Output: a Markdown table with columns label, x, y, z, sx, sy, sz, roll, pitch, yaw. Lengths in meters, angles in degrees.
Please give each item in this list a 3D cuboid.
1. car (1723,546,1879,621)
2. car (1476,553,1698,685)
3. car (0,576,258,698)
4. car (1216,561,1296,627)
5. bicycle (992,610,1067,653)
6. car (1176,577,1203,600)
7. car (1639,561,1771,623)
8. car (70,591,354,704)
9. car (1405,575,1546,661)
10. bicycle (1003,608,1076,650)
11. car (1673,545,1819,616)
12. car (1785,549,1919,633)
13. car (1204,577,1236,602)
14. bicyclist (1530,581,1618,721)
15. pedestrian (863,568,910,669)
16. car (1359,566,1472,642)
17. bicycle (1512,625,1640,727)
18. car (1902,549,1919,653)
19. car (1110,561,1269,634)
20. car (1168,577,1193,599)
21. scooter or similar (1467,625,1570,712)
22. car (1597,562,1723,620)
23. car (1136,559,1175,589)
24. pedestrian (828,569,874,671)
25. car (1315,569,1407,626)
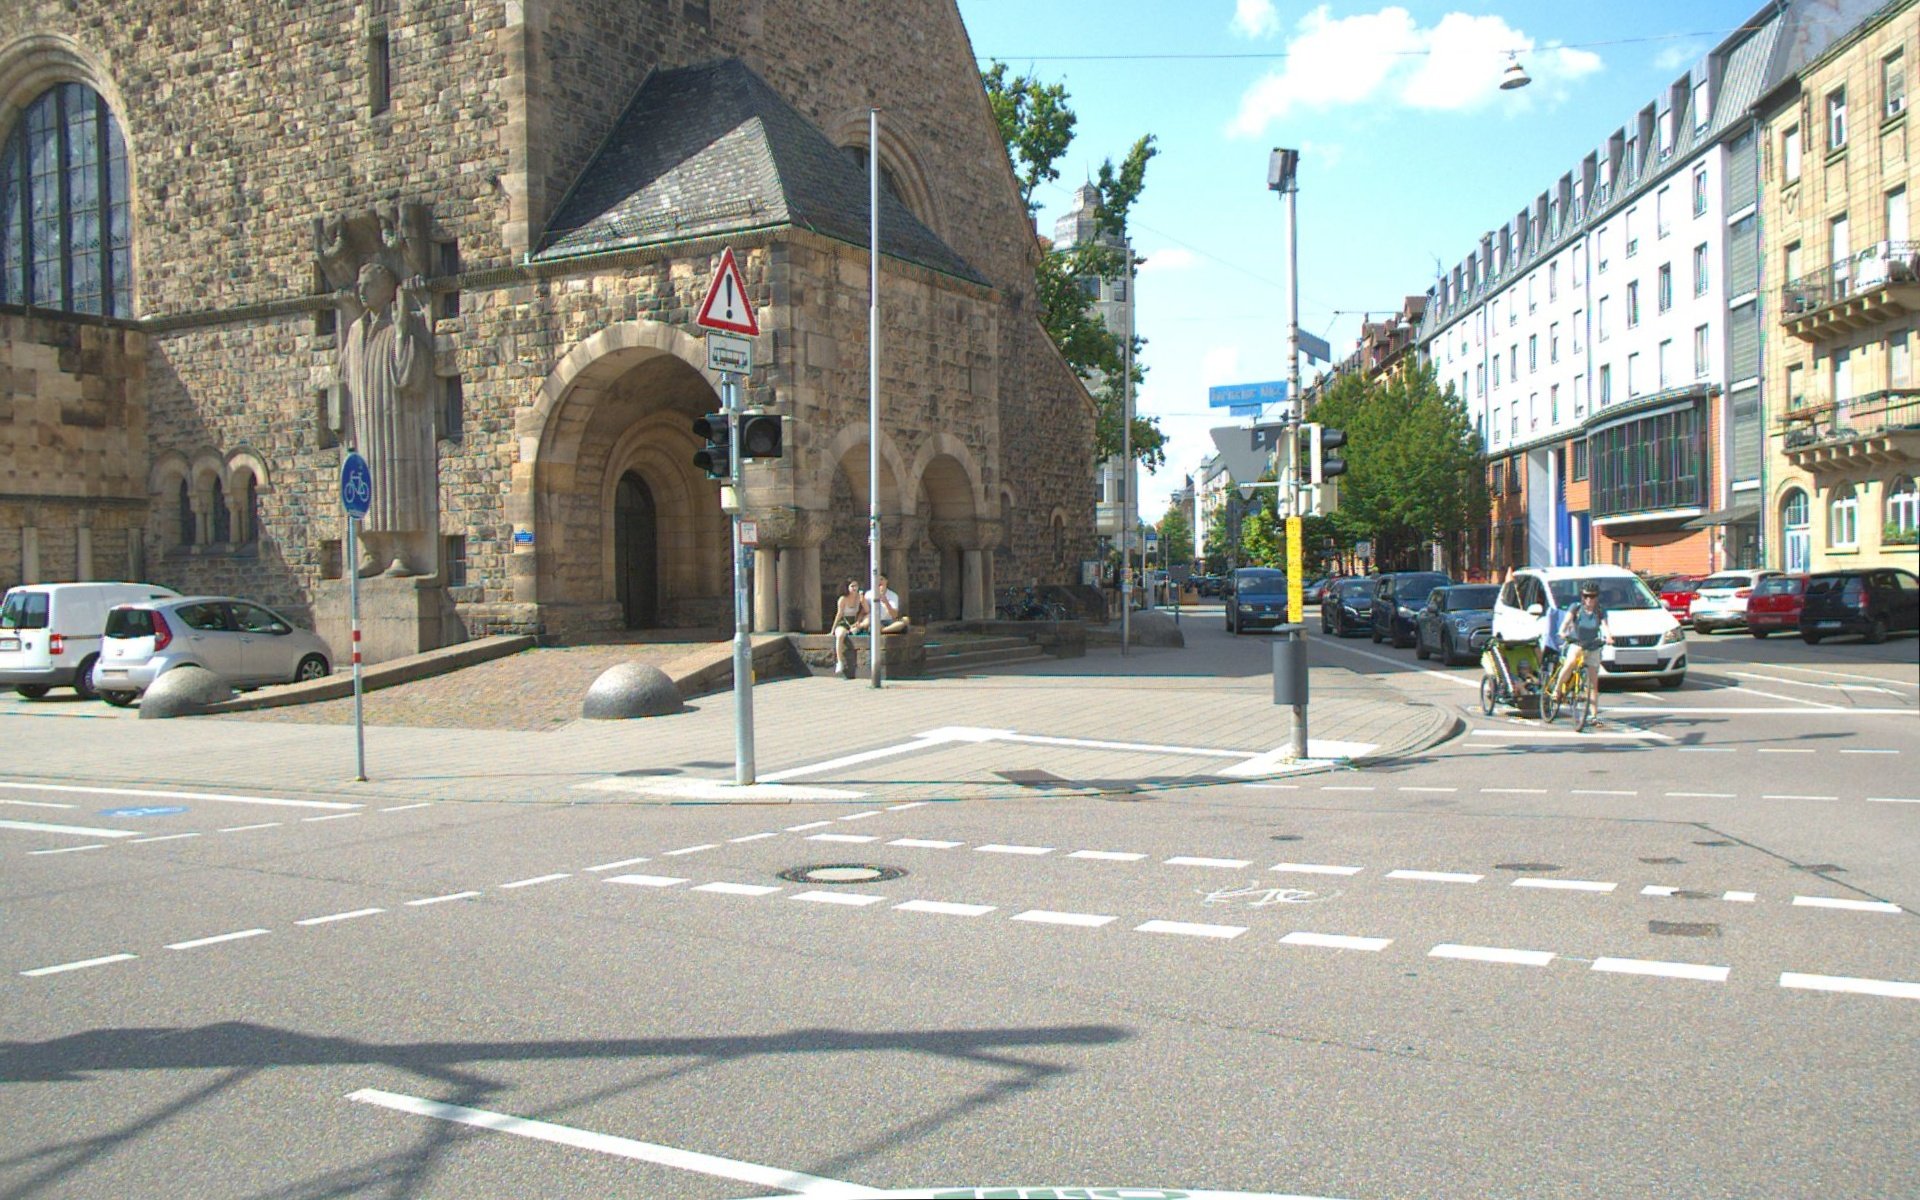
| label | x | y | z | sx | sy | sz | roll | pitch | yaw |
| --- | --- | --- | --- | --- | --- | --- | --- | --- | --- |
| car | 19.793 | -0.399 | 38.887 | 3.730 | 1.481 | 1.588 | -4 | 1 | -33 |
| car | 9.308 | 0.228 | 24.970 | 1.771 | 1.770 | 4.666 | -1 | 1 | 3 |
| car | -14.211 | 0.562 | 28.049 | 1.821 | 1.855 | 4.012 | -1 | 1 | 26 |
| car | 8.433 | -0.209 | 47.409 | 1.771 | 1.693 | 4.076 | -2 | 2 | 4 |
| bicycle | 1.273 | 0.579 | 30.385 | 1.336 | 0.754 | 0.338 | -1 | 1 | 27 |
| car | 19.381 | -0.953 | 139.577 | 1.951 | 1.847 | 4.002 | -1 | 1 | 4 |
| car | 20.201 | -0.219 | 44.823 | 3.530 | 1.421 | 1.588 | -4 | 1 | -33 |
| car | -11.630 | 0.686 | 25.965 | 1.757 | 1.574 | 3.775 | -1 | 1 | 27 |
| car | 9.625 | 0.295 | 31.115 | 1.634 | 1.476 | 3.738 | -1 | 1 | 3 |
| bicycle | 1.475 | 0.545 | 30.771 | 1.336 | 0.754 | 0.338 | -1 | 1 | 27 |
| car | 19.865 | -0.497 | 41.768 | 3.730 | 1.526 | 1.588 | -4 | 1 | -33 |
| car | 19.788 | -0.227 | 35.750 | 3.952 | 1.572 | 1.691 | -4 | 1 | -33 |
| car | 17.672 | -0.740 | 112.584 | 1.746 | 1.579 | 4.002 | -1 | 1 | 4 |
| bicyclist | 6.933 | 0.560 | 18.712 | 0.637 | 1.530 | 0.922 | -1 | 1 | 0 |
| pedestrian | -1.107 | 0.270 | 24.949 | 0.548 | 1.430 | 0.515 | -3 | 7 | -18 |
| car | 10.459 | 0.064 | 38.258 | 1.662 | 1.624 | 4.074 | -1 | 1 | 3 |
| bicycle | 6.931 | 0.827 | 18.717 | 0.637 | 1.006 | 2.134 | -1 | 1 | 0 |
| car | 19.317 | -0.123 | 30.086 | 3.941 | 1.856 | 1.900 | -4 | 1 | -27 |
| car | 5.726 | -0.065 | 41.635 | 2.004 | 1.681 | 3.933 | -2 | 1 | -29 |
| car | 19.950 | -1.086 | 149.720 | 1.951 | 1.847 | 4.002 | -1 | 1 | 4 |
| scooter or similar | 6.861 | 0.829 | 20.361 | 0.869 | 0.994 | 1.131 | -1 | 1 | -1 |
| car | 20.100 | -0.262 | 47.468 | 3.530 | 1.421 | 1.588 | -4 | 1 | -33 |
| car | 9.248 | -1.238 | 77.964 | 1.603 | 1.348 | 3.747 | -1 | 1 | 10 |
| pedestrian | -1.637 | 0.292 | 24.774 | 0.548 | 1.430 | 0.515 | -3 | 7 | -18 |
| car | 10.657 | -0.088 | 44.196 | 1.662 | 1.415 | 3.863 | -1 | 1 | 3 |
